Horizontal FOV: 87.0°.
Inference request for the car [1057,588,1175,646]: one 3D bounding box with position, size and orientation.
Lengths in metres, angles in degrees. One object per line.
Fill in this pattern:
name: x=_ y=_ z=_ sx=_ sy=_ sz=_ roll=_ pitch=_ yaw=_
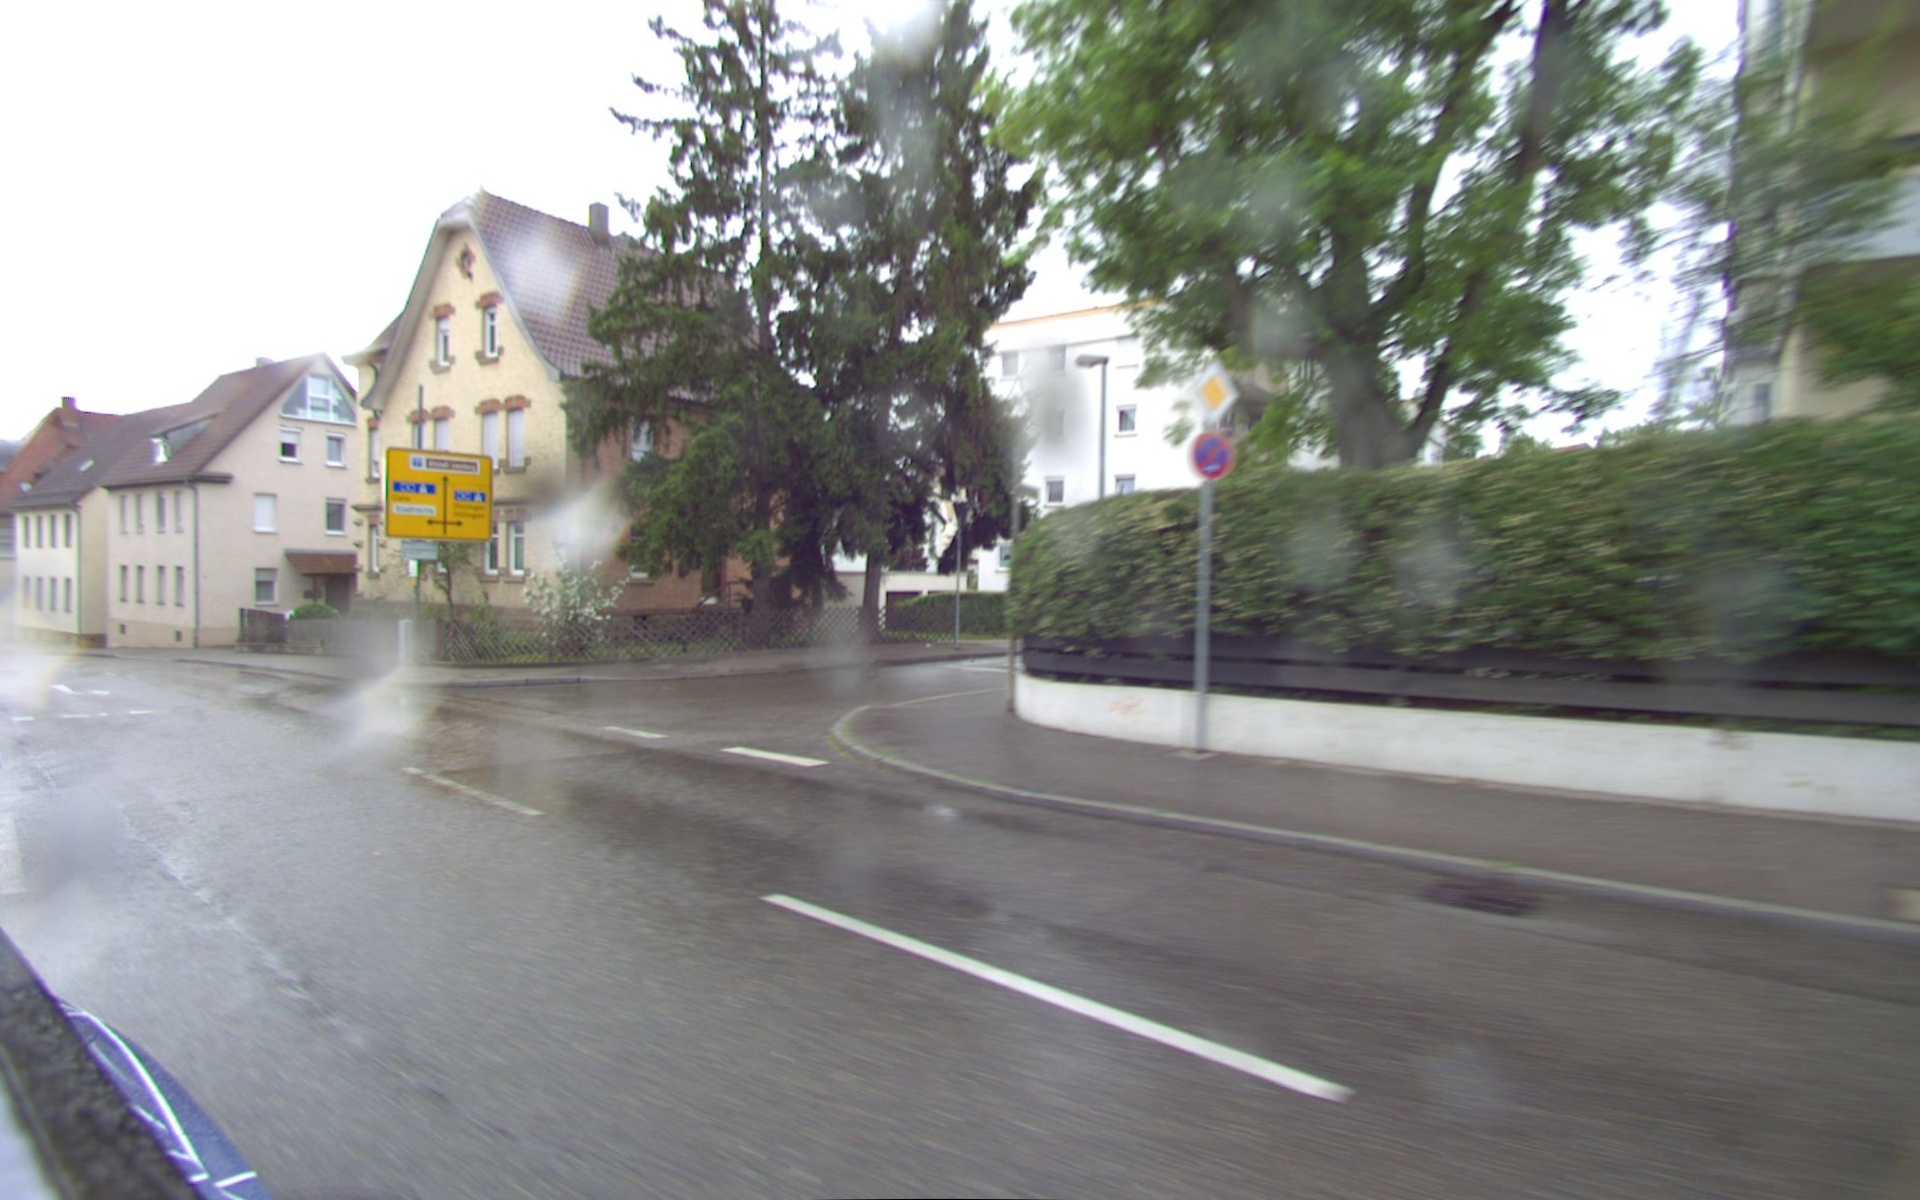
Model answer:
car: x=5.079 y=0.550 z=33.093 sx=3.379 sy=1.779 sz=1.801 roll=-1 pitch=-1 yaw=38
